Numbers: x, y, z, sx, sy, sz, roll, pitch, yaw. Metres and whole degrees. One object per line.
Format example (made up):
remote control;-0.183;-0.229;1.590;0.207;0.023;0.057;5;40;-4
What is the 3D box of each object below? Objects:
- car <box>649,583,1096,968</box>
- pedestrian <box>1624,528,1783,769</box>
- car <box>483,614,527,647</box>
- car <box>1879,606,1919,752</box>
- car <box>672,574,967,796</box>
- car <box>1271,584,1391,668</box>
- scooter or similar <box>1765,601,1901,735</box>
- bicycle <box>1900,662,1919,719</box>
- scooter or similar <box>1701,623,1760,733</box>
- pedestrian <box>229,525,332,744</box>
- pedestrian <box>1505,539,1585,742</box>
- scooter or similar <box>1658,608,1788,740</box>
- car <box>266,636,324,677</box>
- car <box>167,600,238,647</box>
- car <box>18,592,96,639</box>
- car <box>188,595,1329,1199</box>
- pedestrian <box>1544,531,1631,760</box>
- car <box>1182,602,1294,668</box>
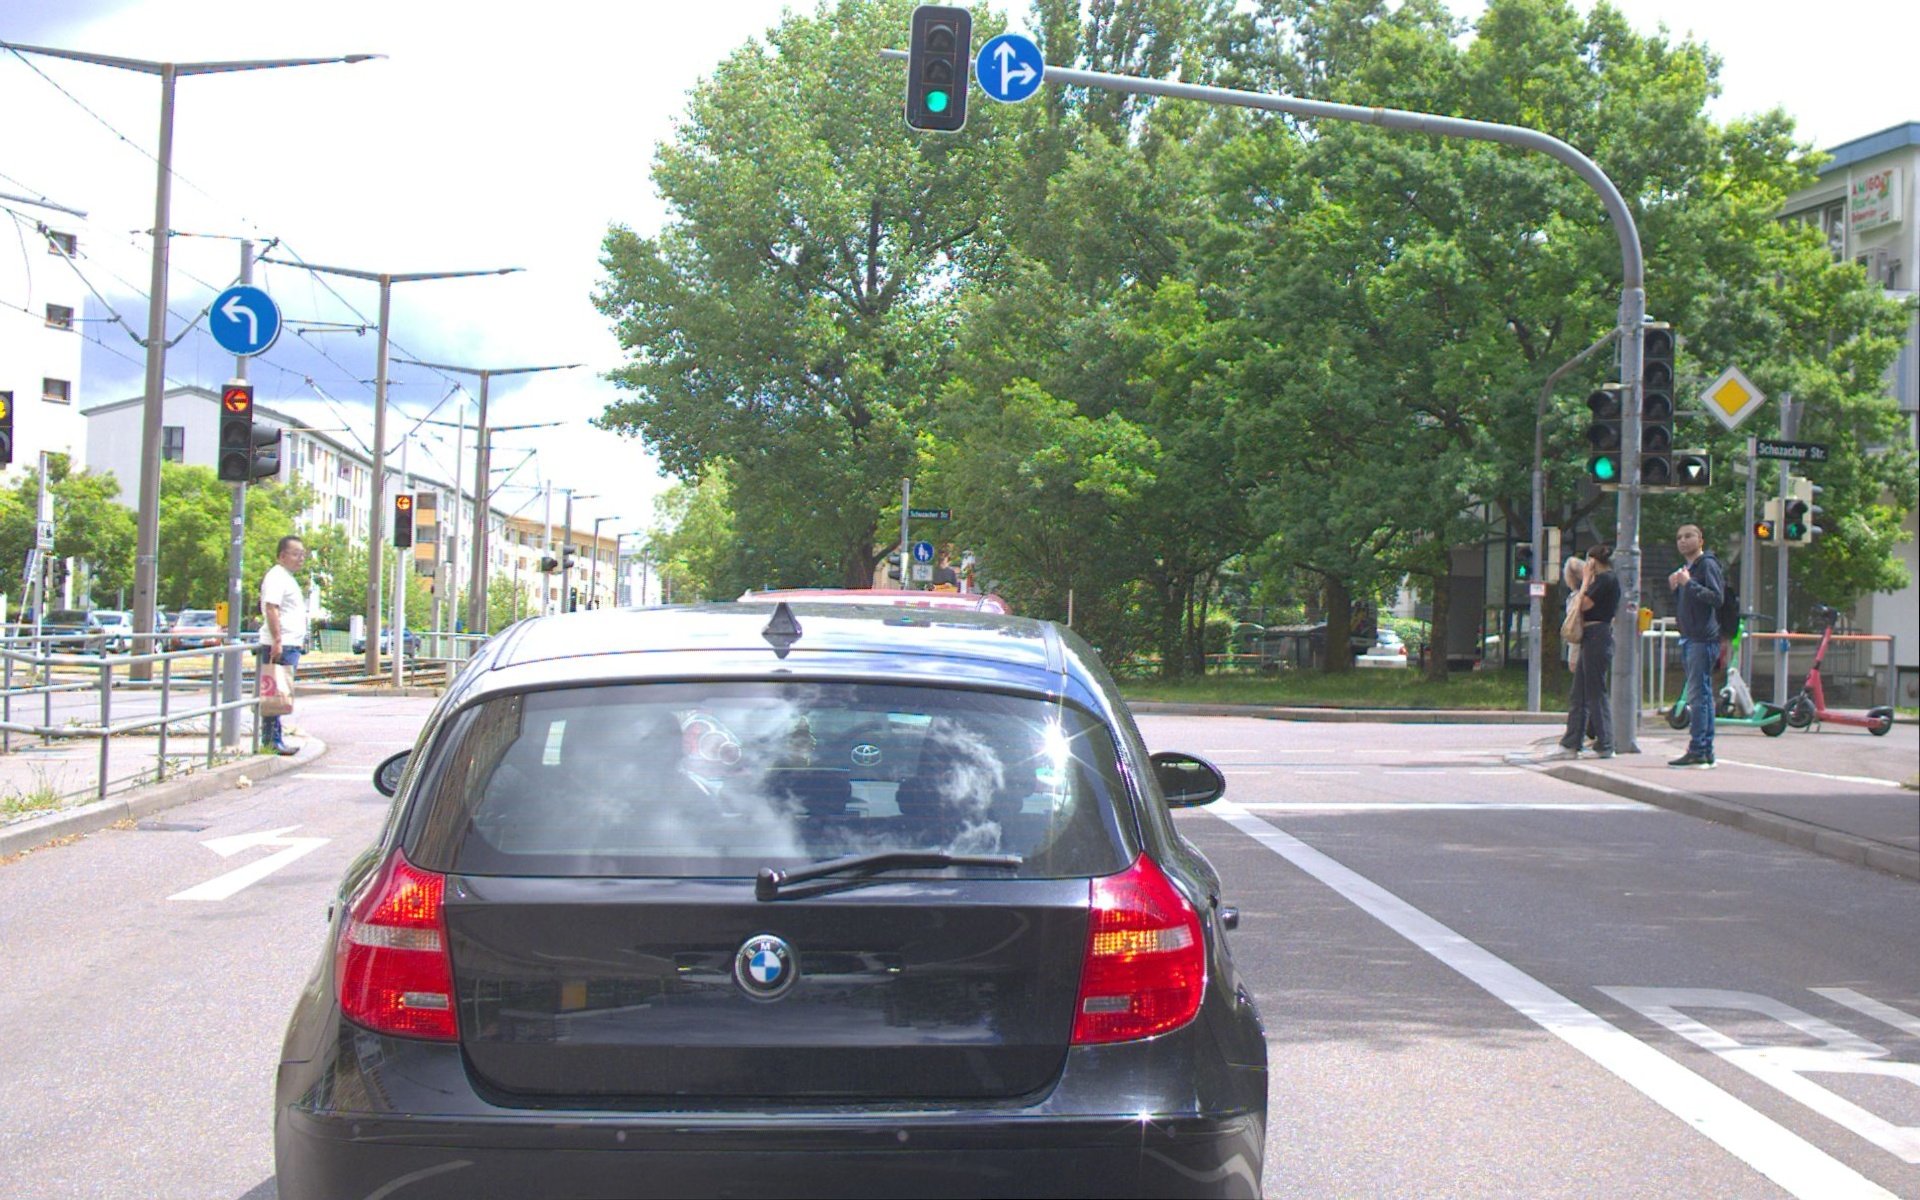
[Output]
car;-0.344;0.643;14.468;1.638;1.395;3.420;1;0;-1
pedestrian;5.910;0.379;27.363;1.010;1.870;0.798;1;0;-6
car;-22.574;1.497;170.635;1.651;1.529;3.872;1;0;-1
car;15.520;1.091;48.455;4.534;2.007;2.000;0;1;-7
car;-0.943;0.541;24.741;1.900;1.417;4.539;1;0;-1
car;8.561;0.586;79.685;1.726;1.865;4.001;1;0;-9
scooter or similar;8.572;0.662;33.781;1.150;1.268;0.555;2;0;2
bicycle;10.899;1.012;37.233;0.532;0.608;1.591;2;0;-20
scooter or similar;7.804;0.778;34.802;0.548;1.060;1.261;1;0;13
pedestrian;-5.437;0.272;27.549;0.687;1.728;0.687;0;0;-1
pedestrian;5.147;0.351;30.269;0.636;1.760;0.518;1;0;6
scooter or similar;7.281;0.700;32.825;1.110;1.231;0.539;1;0;2
car;-26.475;2.240;136.936;1.651;1.529;3.872;1;0;-2
car;-25.826;0.795;117.293;1.651;1.529;3.872;1;0;-2
car;-29.348;0.496;111.836;1.591;1.469;3.775;1;0;-2
car;-0.325;0.713;6.876;1.700;1.395;3.420;1;0;-1
pedestrian;5.189;0.369;28.450;0.636;1.870;0.518;1;0;6
car;7.295;0.909;90.625;1.862;1.656;4.001;1;0;-11
